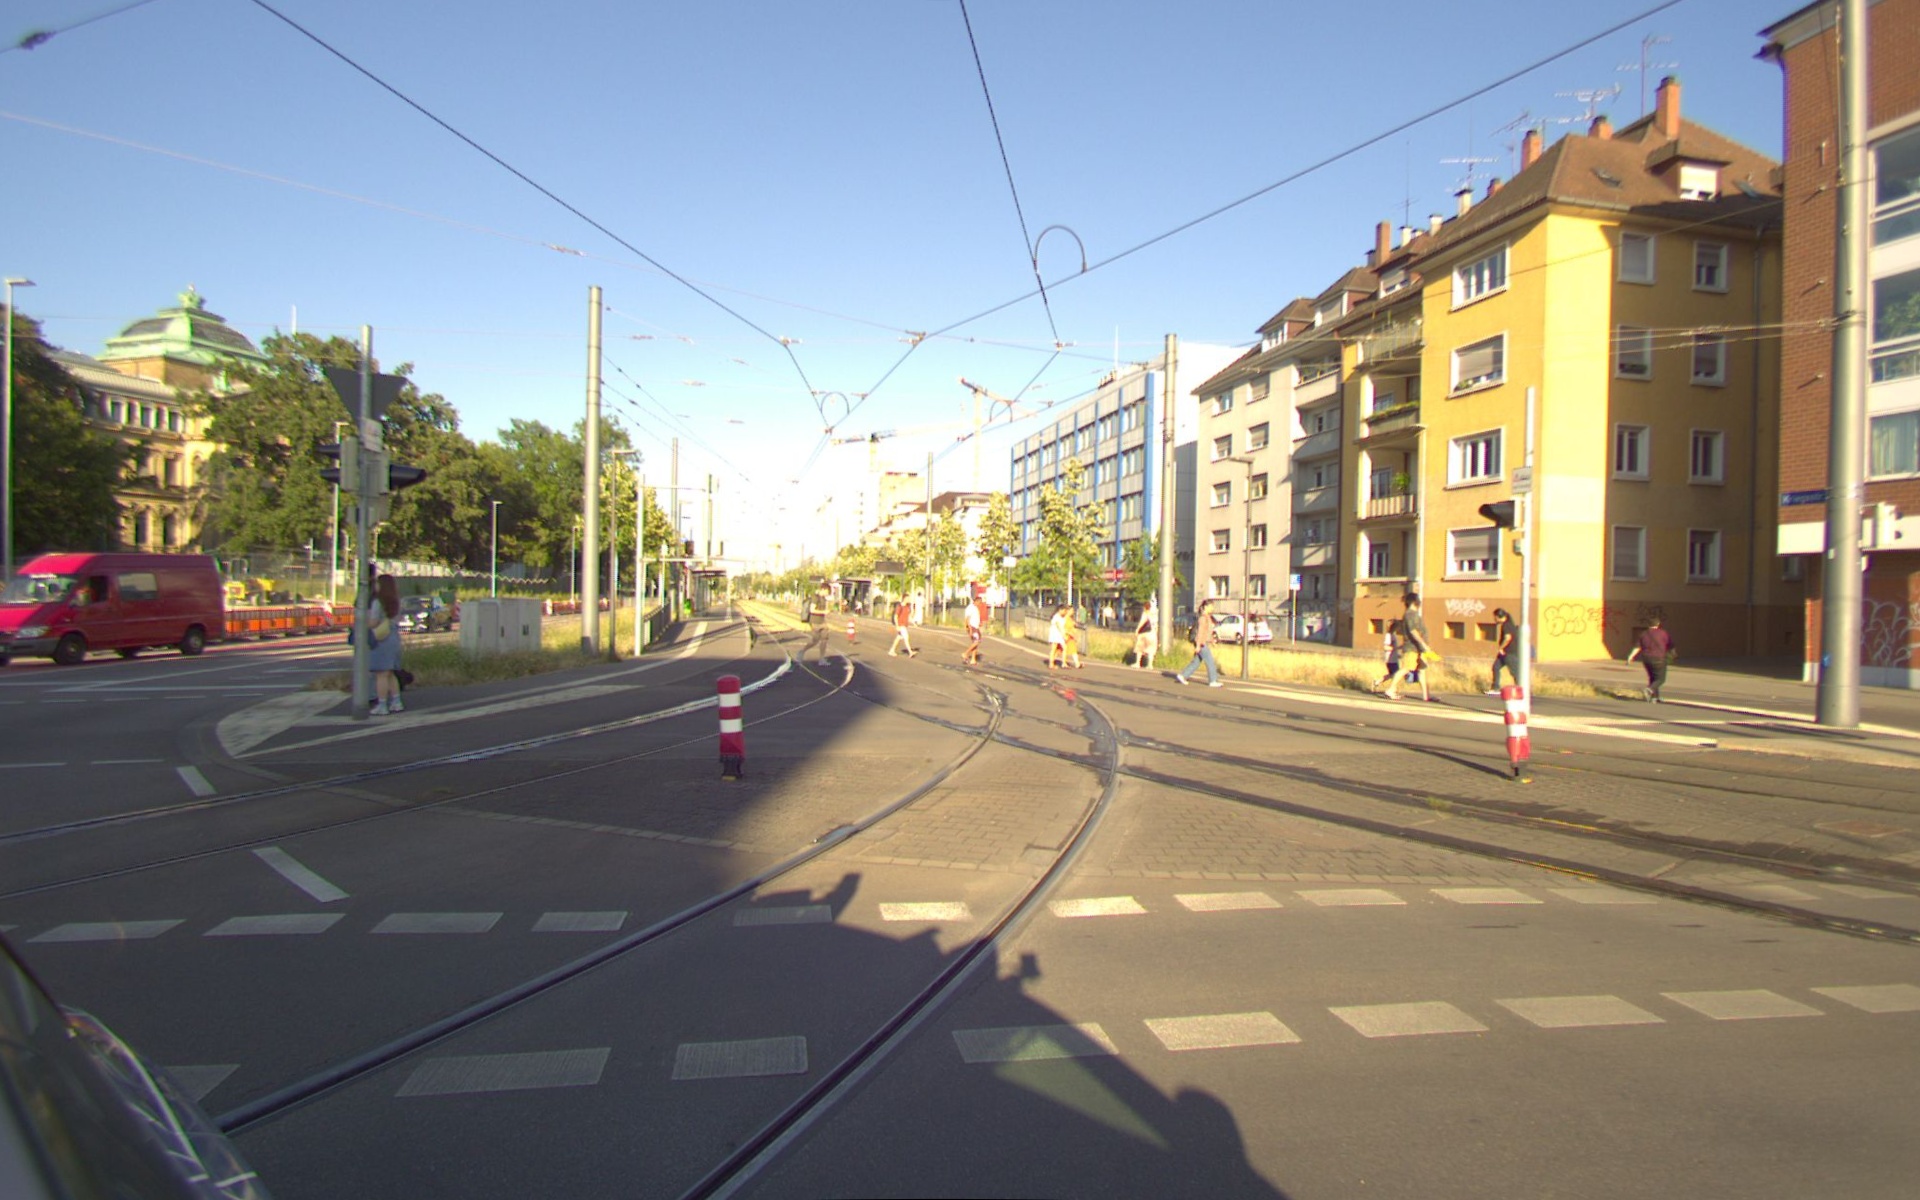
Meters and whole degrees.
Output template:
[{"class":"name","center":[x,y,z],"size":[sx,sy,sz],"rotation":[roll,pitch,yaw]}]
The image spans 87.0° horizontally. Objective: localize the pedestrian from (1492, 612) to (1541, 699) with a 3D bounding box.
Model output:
[{"class":"pedestrian","center":[10.610,1.042,19.309],"size":[0.678,1.596,0.836],"rotation":[0,0,19]}]

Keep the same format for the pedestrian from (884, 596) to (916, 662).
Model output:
[{"class":"pedestrian","center":[-1.601,0.763,27.012],"size":[0.775,1.711,0.621],"rotation":[0,0,-10]}]

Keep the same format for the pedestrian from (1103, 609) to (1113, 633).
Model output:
[{"class":"pedestrian","center":[10.794,1.510,73.831],"size":[0.636,1.759,0.600],"rotation":[0,0,-7]}]

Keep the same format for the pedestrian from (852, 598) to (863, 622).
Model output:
[{"class":"pedestrian","center":[-7.358,0.742,72.530],"size":[0.649,1.705,0.774],"rotation":[0,0,-15]}]

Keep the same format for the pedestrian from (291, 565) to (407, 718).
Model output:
[{"class":"pedestrian","center":[-7.573,0.507,12.562],"size":[0.783,1.815,0.893],"rotation":[-4,-1,25]}]

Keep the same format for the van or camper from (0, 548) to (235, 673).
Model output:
[{"class":"van or camper","center":[-20.028,0.185,23.727],"size":[1.971,2.548,5.917],"rotation":[0,1,-2]}]

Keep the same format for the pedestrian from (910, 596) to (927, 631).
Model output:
[{"class":"pedestrian","center":[-2.070,0.666,50.385],"size":[0.775,1.685,0.621],"rotation":[0,0,-10]}]

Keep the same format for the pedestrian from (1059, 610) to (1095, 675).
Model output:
[{"class":"pedestrian","center":[2.659,0.947,23.036],"size":[0.628,1.442,0.525],"rotation":[-1,1,-41]}]

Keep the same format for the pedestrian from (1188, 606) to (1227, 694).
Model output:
[{"class":"pedestrian","center":[4.517,0.884,18.451],"size":[0.614,1.547,0.783],"rotation":[0,0,19]}]

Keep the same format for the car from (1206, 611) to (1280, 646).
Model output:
[{"class":"car","center":[13.709,1.364,49.202],"size":[1.856,1.519,3.684],"rotation":[0,1,-14]}]

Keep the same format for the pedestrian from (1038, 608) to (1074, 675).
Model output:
[{"class":"pedestrian","center":[2.143,0.917,22.593],"size":[0.628,1.467,0.525],"rotation":[-1,1,-42]}]

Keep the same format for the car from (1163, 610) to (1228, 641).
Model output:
[{"class":"car","center":[12.502,1.318,53.929],"size":[1.856,1.519,3.684],"rotation":[0,1,-14]}]

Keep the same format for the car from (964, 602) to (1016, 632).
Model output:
[{"class":"car","center":[1.612,0.896,55.202],"size":[1.856,1.519,3.953],"rotation":[0,1,-14]}]

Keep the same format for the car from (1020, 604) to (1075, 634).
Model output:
[{"class":"car","center":[4.798,1.045,56.136],"size":[1.856,1.519,3.953],"rotation":[0,1,-14]}]

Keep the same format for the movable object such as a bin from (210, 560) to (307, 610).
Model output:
[{"class":"movable object such as a bin","center":[-41.857,-0.915,60.598],"size":[1.970,2.837,5.872],"rotation":[0,1,-3]}]

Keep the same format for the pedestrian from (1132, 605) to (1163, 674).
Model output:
[{"class":"pedestrian","center":[4.462,0.914,23.996],"size":[0.677,1.596,0.838],"rotation":[0,0,14]}]

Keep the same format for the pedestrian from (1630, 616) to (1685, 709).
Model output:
[{"class":"pedestrian","center":[12.477,1.100,18.115],"size":[0.786,1.600,0.601],"rotation":[0,1,33]}]

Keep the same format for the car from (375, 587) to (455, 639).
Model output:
[{"class":"car","center":[-22.275,0.481,41.496],"size":[1.966,2.029,4.011],"rotation":[0,1,-14]}]

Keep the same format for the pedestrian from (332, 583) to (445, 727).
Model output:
[{"class":"pedestrian","center":[-6.886,0.628,12.216],"size":[0.783,1.653,0.892],"rotation":[0,1,25]}]

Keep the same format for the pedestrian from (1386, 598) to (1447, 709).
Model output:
[{"class":"pedestrian","center":[7.518,0.849,16.690],"size":[0.894,1.771,0.770],"rotation":[0,0,24]}]

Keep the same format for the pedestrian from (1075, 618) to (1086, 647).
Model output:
[{"class":"pedestrian","center":[7.898,2.093,66.110],"size":[0.553,1.861,0.724],"rotation":[0,0,-7]}]

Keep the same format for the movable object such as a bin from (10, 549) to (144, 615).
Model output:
[{"class":"movable object such as a bin","center":[-37.911,-0.758,43.639],"size":[1.968,2.704,5.023],"rotation":[0,1,-9]}]

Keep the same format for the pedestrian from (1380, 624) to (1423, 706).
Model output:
[{"class":"pedestrian","center":[7.577,1.111,17.394],"size":[0.603,1.371,0.593],"rotation":[-1,-4,18]}]

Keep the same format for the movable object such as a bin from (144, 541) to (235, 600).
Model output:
[{"class":"movable object such as a bin","center":[-45.520,-1.702,59.949],"size":[1.968,3.354,5.385],"rotation":[0,1,-9]}]

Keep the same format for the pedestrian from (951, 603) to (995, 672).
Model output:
[{"class":"pedestrian","center":[0.313,0.893,23.992],"size":[0.620,1.560,0.776],"rotation":[-4,-9,44]}]

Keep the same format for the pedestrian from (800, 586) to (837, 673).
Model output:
[{"class":"pedestrian","center":[-3.123,0.627,22.274],"size":[0.775,1.878,0.621],"rotation":[0,0,-10]}]
